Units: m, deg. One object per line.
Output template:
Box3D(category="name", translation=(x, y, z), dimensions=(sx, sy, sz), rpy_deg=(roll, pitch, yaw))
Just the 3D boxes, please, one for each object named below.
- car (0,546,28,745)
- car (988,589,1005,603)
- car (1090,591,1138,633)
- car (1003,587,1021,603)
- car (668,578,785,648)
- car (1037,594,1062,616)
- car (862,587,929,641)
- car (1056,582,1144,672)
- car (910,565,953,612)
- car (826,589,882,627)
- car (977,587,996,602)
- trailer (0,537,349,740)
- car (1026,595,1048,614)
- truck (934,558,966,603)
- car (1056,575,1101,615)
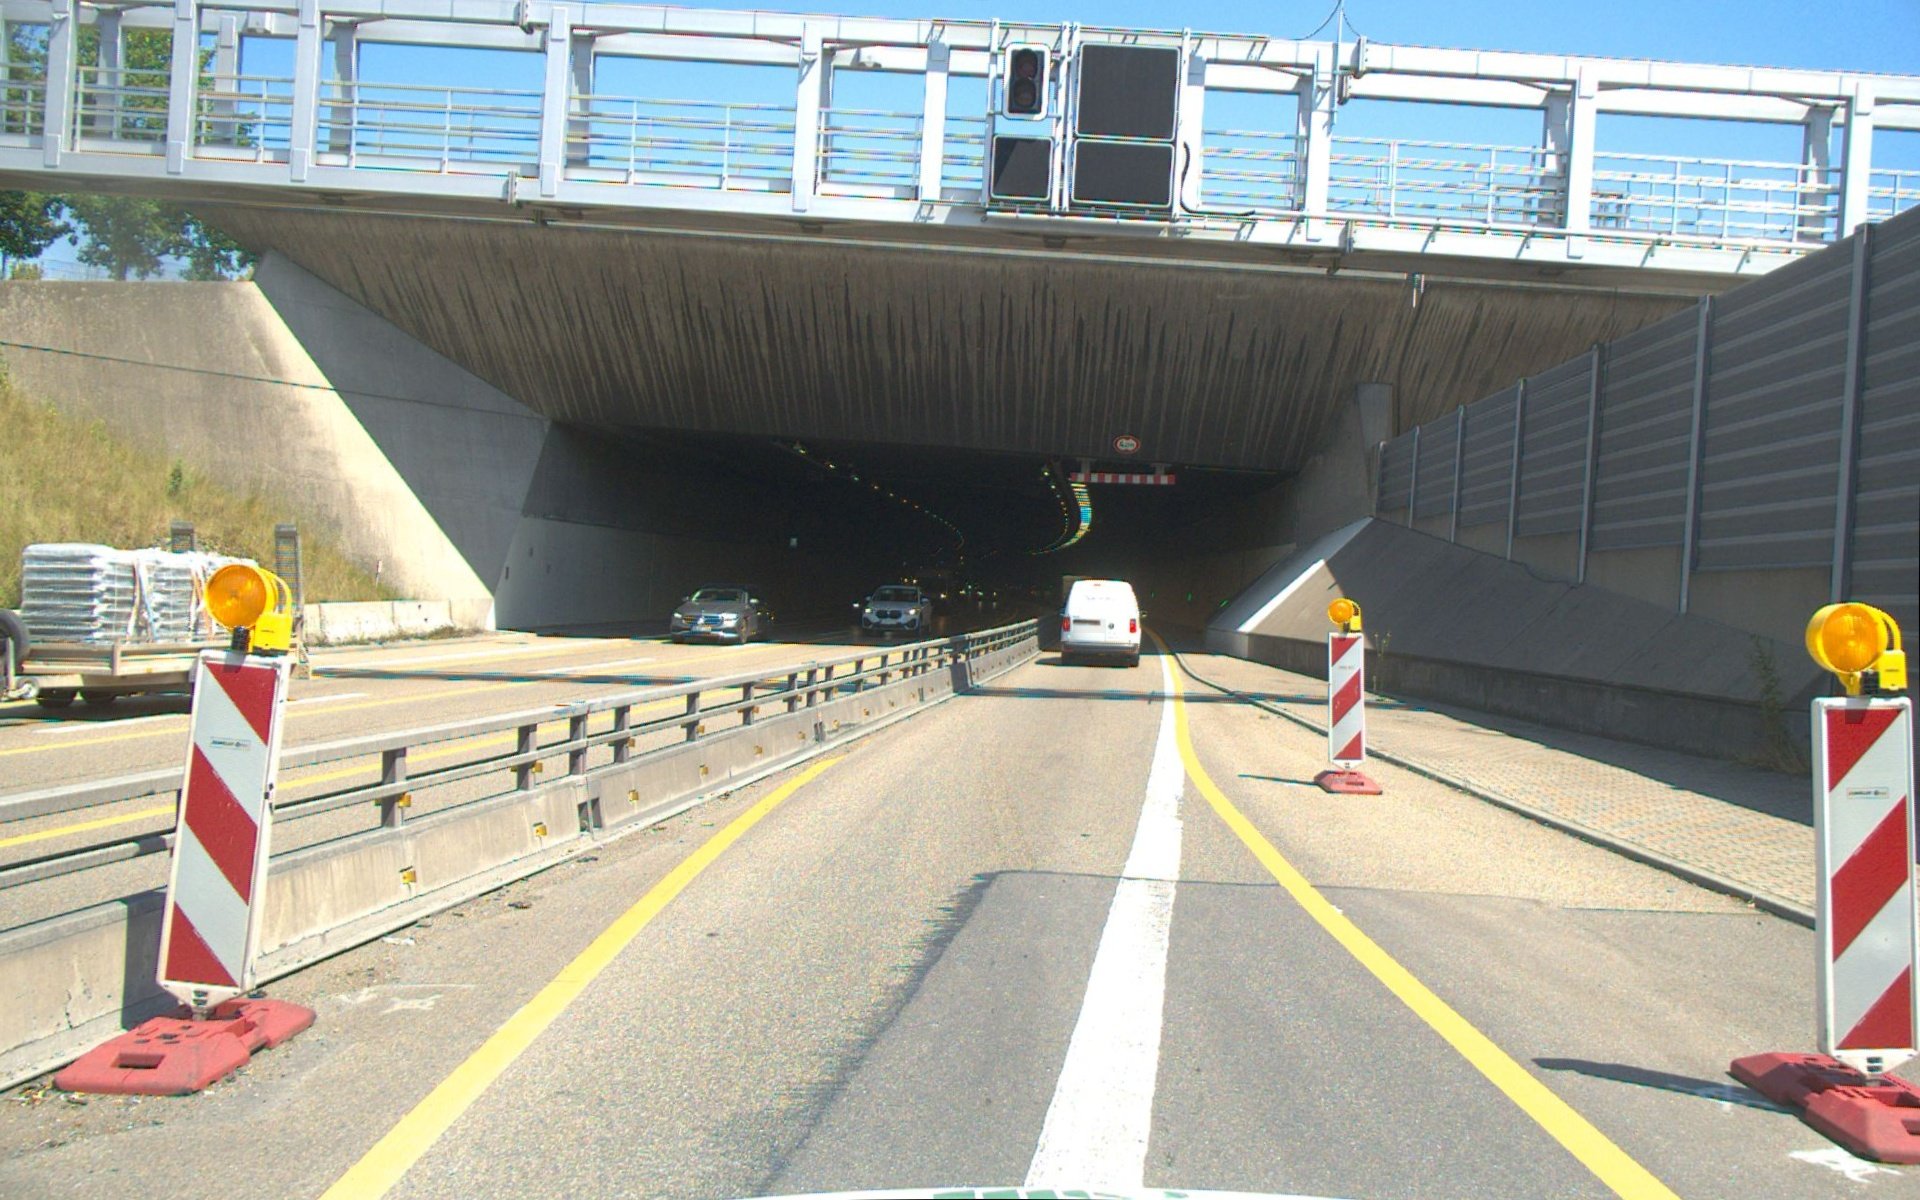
Box3D(category="car", translation=(-9.634, 0.400, 12.671), dimensions=(1.736, 1.757, 4.871), rpy_deg=(1, 0, 8))
Box3D(category="car", translation=(5.296, -0.588, 239.975), dimensions=(2.032, 2.056, 4.658), rpy_deg=(1, 0, -4))
Box3D(category="car", translation=(6.290, 0.495, 67.942), dimensions=(1.771, 1.564, 4.411), rpy_deg=(3, 0, 4))
Box3D(category="car", translation=(6.822, -0.659, 216.069), dimensions=(1.901, 2.056, 4.658), rpy_deg=(1, 0, -4))
Box3D(category="car", translation=(-6.014, 0.312, 43.100), dimensions=(1.736, 1.695, 4.811), rpy_deg=(1, 0, 8))
Box3D(category="car", translation=(8.958, 0.498, 166.269), dimensions=(1.995, 2.056, 4.630), rpy_deg=(5, 0, -2))
Box3D(category="car", translation=(-1.986, 0.400, 51.981), dimensions=(1.737, 1.605, 4.448), rpy_deg=(1, 0, 2))
Box3D(category="car", translation=(3.189, 0.600, 37.168), dimensions=(1.770, 1.825, 3.733), rpy_deg=(3, 0, 7))
Box3D(category="car", translation=(-1.586, -0.657, 94.203), dimensions=(1.952, 2.559, 6.044), rpy_deg=(1, 0, 3))
Box3D(category="car", translation=(-4.491, 0.322, 70.548), dimensions=(1.736, 1.542, 4.567), rpy_deg=(1, 0, 5))
Box3D(category="car", translation=(2.581, -0.546, 162.730), dimensions=(1.784, 1.482, 4.093), rpy_deg=(1, 0, 0))
Box3D(category="trailer", translation=(-8.903, 0.326, 17.875), dimensions=(1.905, 1.837, 5.527), rpy_deg=(1, 0, 8))
Box3D(category="car", translation=(8.477, 0.491, 181.921), dimensions=(1.901, 2.056, 4.658), rpy_deg=(1, 0, -4))
Box3D(category="truck", translation=(-0.861, -1.769, 153.023), dimensions=(2.752, 3.984, 6.456), rpy_deg=(1, 0, 1))
Box3D(category="car", translation=(9.284, -0.344, 130.267), dimensions=(2.757, 2.822, 7.099), rpy_deg=(4, -1, -1))
